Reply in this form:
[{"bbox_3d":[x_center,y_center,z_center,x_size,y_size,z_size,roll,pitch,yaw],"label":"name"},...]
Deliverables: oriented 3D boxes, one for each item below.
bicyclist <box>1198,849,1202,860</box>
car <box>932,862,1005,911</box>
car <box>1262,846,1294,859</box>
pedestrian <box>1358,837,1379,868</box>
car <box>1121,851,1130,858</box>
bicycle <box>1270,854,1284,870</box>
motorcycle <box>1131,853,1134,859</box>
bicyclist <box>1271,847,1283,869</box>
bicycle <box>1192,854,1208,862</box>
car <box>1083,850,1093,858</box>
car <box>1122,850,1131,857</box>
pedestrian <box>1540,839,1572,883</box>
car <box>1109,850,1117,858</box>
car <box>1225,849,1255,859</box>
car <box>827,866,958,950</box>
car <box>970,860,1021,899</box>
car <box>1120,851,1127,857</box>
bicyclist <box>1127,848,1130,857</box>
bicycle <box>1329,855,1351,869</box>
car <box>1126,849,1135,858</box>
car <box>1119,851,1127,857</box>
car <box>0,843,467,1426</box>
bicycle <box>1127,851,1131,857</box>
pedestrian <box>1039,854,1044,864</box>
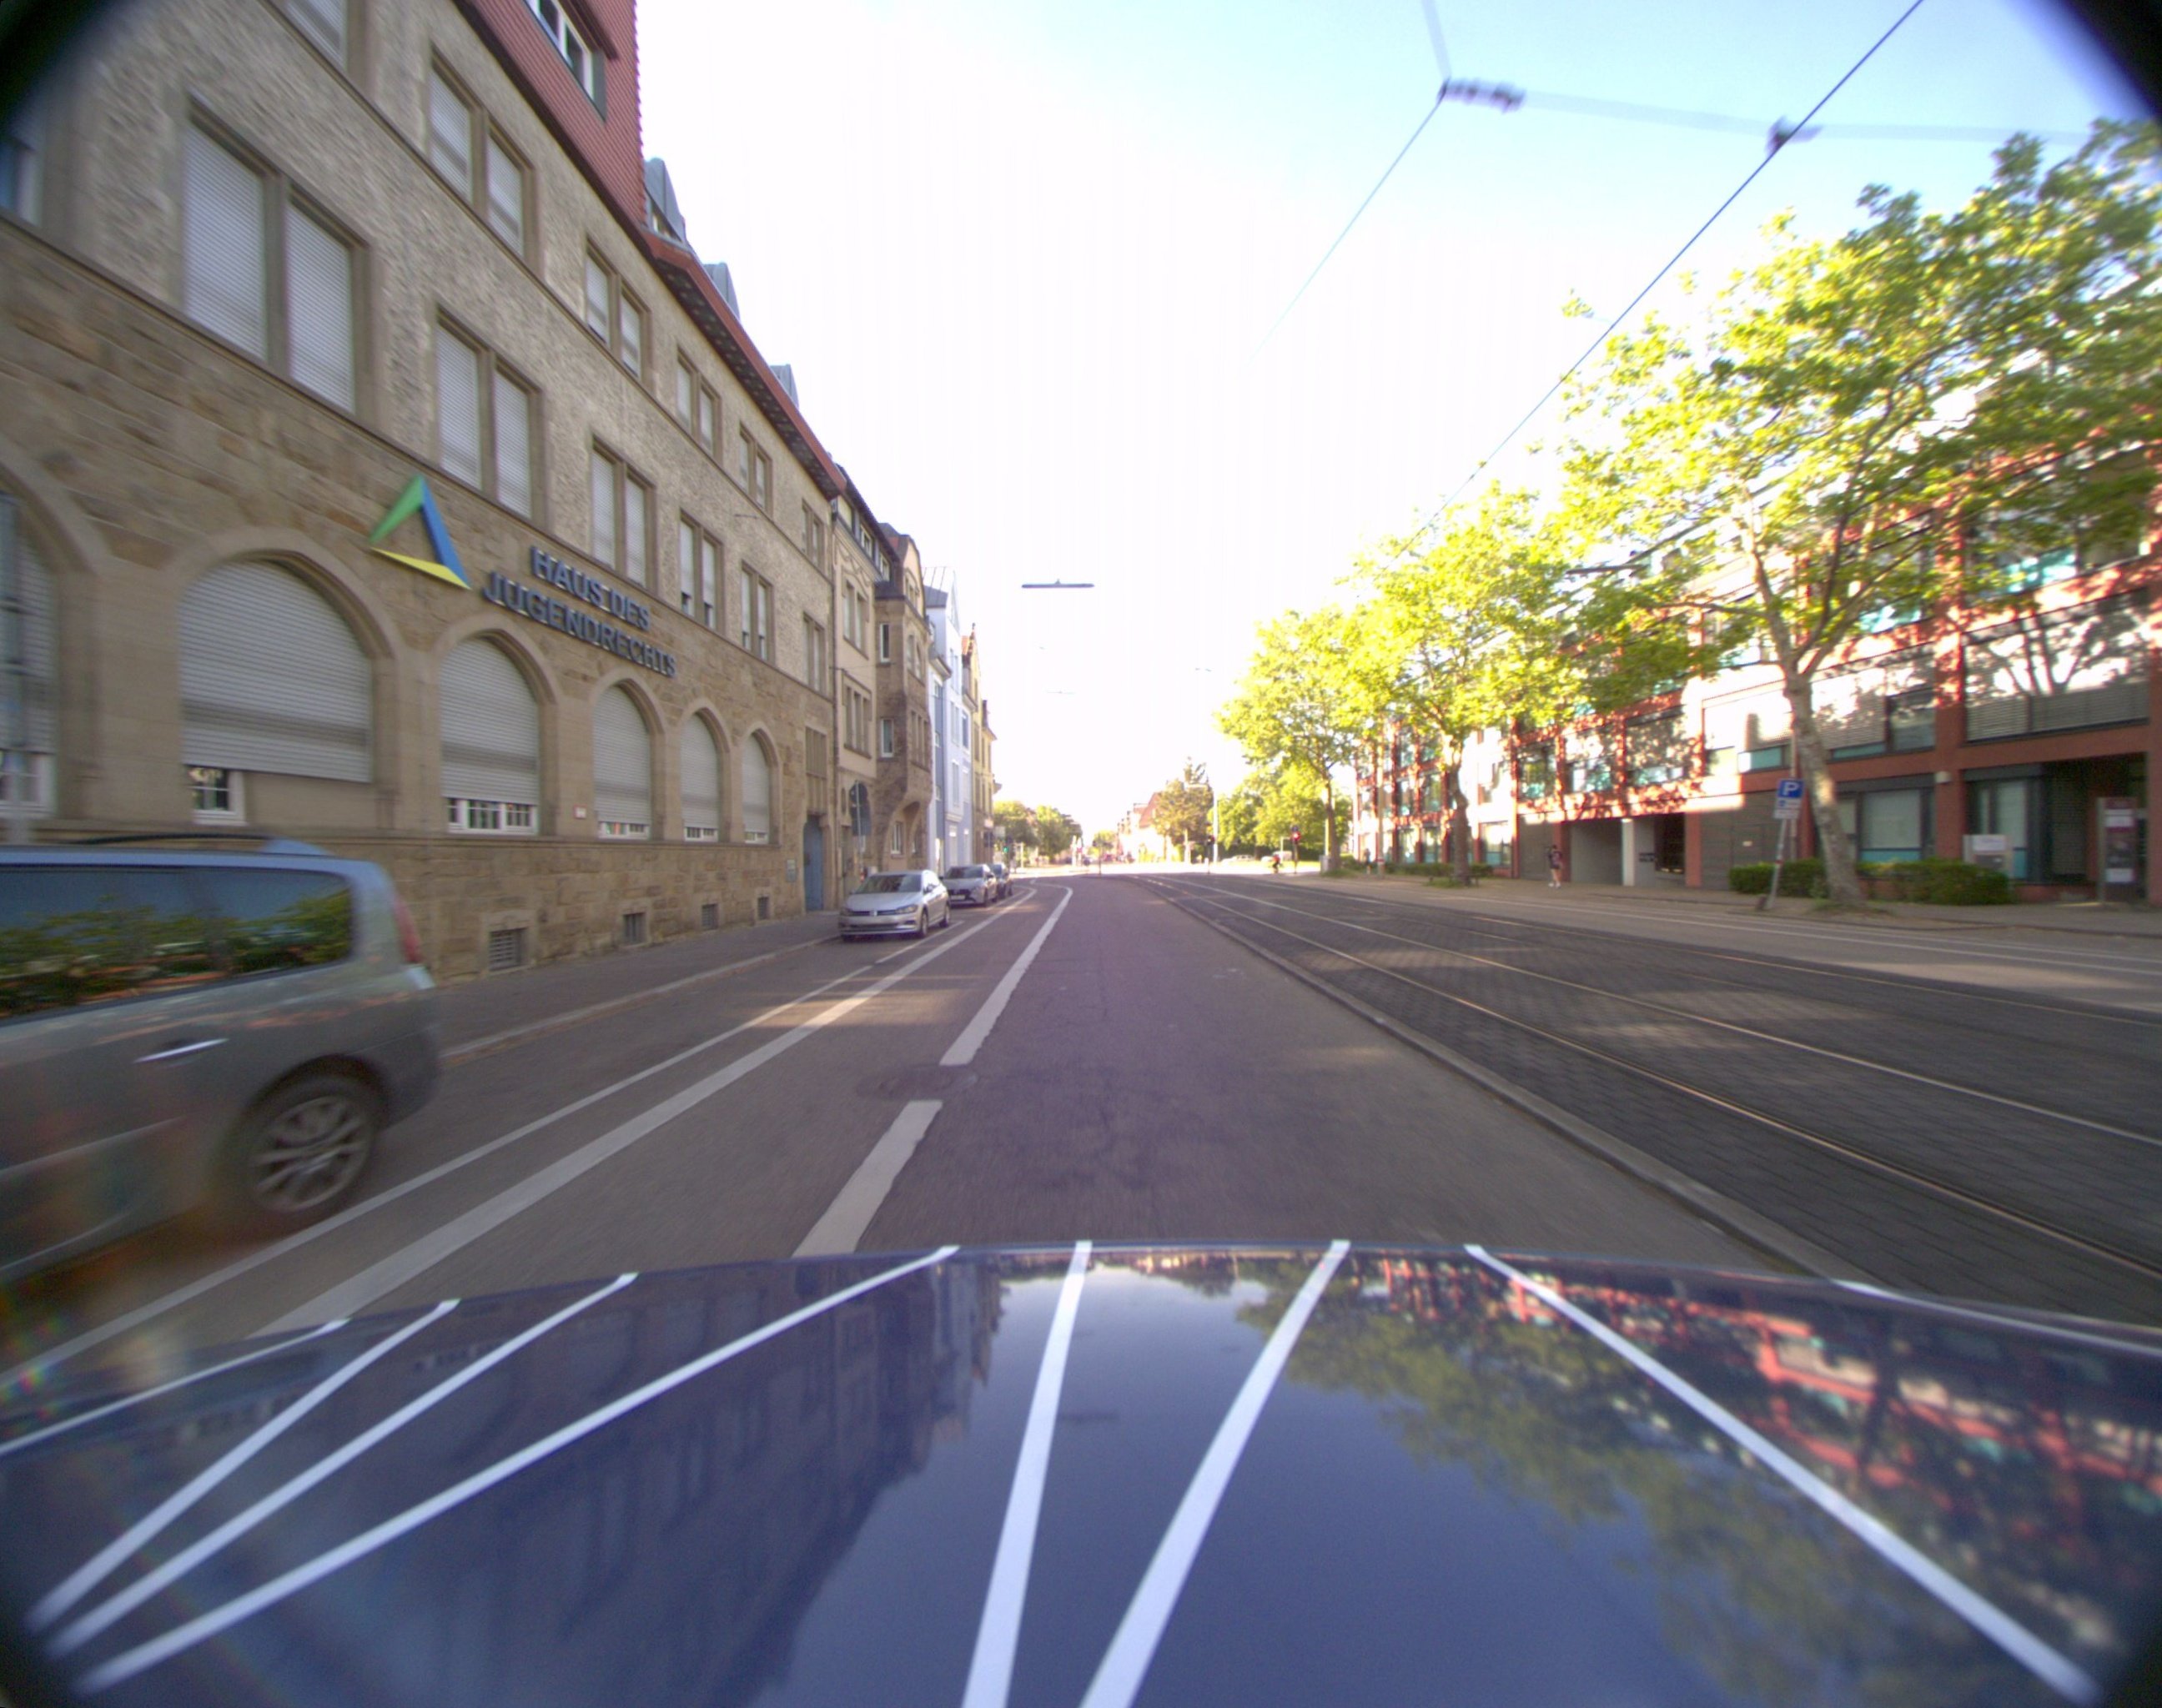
[{"bbox_3d":[17.323,0.123,110.206,0.559,1.613,0.899,-1,1,9],"label":"bicyclist"},{"bbox_3d":[-3.940,1.103,27.224,1.757,1.492,4.196,-3,0,2],"label":"car"},{"bbox_3d":[28.840,-0.255,111.478,4.311,1.856,1.817,-1,0,3],"label":"car"},{"bbox_3d":[19.128,-0.118,50.555,0.913,2.002,0.780,-3,0,-8],"label":"pedestrian"},{"bbox_3d":[11.249,0.193,191.496,1.924,1.705,4.000,-3,0,1],"label":"car"},{"bbox_3d":[15.165,0.601,58.683,0.632,1.123,2.038,-1,3,26],"label":"bicycle"},{"bbox_3d":[10.537,0.384,156.075,0.605,1.040,2.438,-3,0,3],"label":"motorcycle"},{"bbox_3d":[15.159,0.309,58.699,0.605,1.682,0.934,-3,0,26],"label":"bicyclist"},{"bbox_3d":[17.219,0.607,110.246,2.284,1.111,0.930,-1,0,9],"label":"bicycle"},{"bbox_3d":[1.531,0.023,165.148,1.923,1.705,4.001,-3,0,4],"label":"car"},{"bbox_3d":[11.081,-0.150,184.310,1.924,1.705,4.000,-3,0,2],"label":"car"},{"bbox_3d":[18.837,0.281,30.164,0.627,1.708,0.900,-3,0,0],"label":"pedestrian"},{"bbox_3d":[8.047,0.086,190.558,2.024,2.001,5.253,0,-1,4],"label":"car"},{"bbox_3d":[22.899,0.010,109.355,3.995,1.425,1.817,-1,0,7],"label":"car"},{"bbox_3d":[-4.050,1.096,17.033,1.718,1.492,4.226,-3,0,1],"label":"car"},{"bbox_3d":[-3.619,1.051,32.761,1.659,1.474,4.000,-2,0,1],"label":"car"},{"bbox_3d":[12.316,0.022,221.687,1.923,1.705,4.001,-3,0,3],"label":"car"},{"bbox_3d":[8.873,-0.342,142.163,0.588,1.701,0.901,0,0,-2],"label":"bicyclist"},{"bbox_3d":[17.410,0.540,51.093,0.522,0.901,1.541,-1,1,-23],"label":"bicycle"},{"bbox_3d":[11.067,-0.085,170.819,1.923,1.890,4.001,-3,0,4],"label":"car"},{"bbox_3d":[11.404,0.011,206.678,1.923,1.555,4.001,-3,0,5],"label":"car"},{"bbox_3d":[-4.341,0.918,1.780,1.757,1.844,4.815,-2,0,1],"label":"car"},{"bbox_3d":[9.064,-0.048,142.213,0.588,1.107,1.826,0,0,-2],"label":"bicycle"},{"bbox_3d":[-6.480,0.855,123.806,0.655,1.664,0.943,0,0,3],"label":"pedestrian"}]
